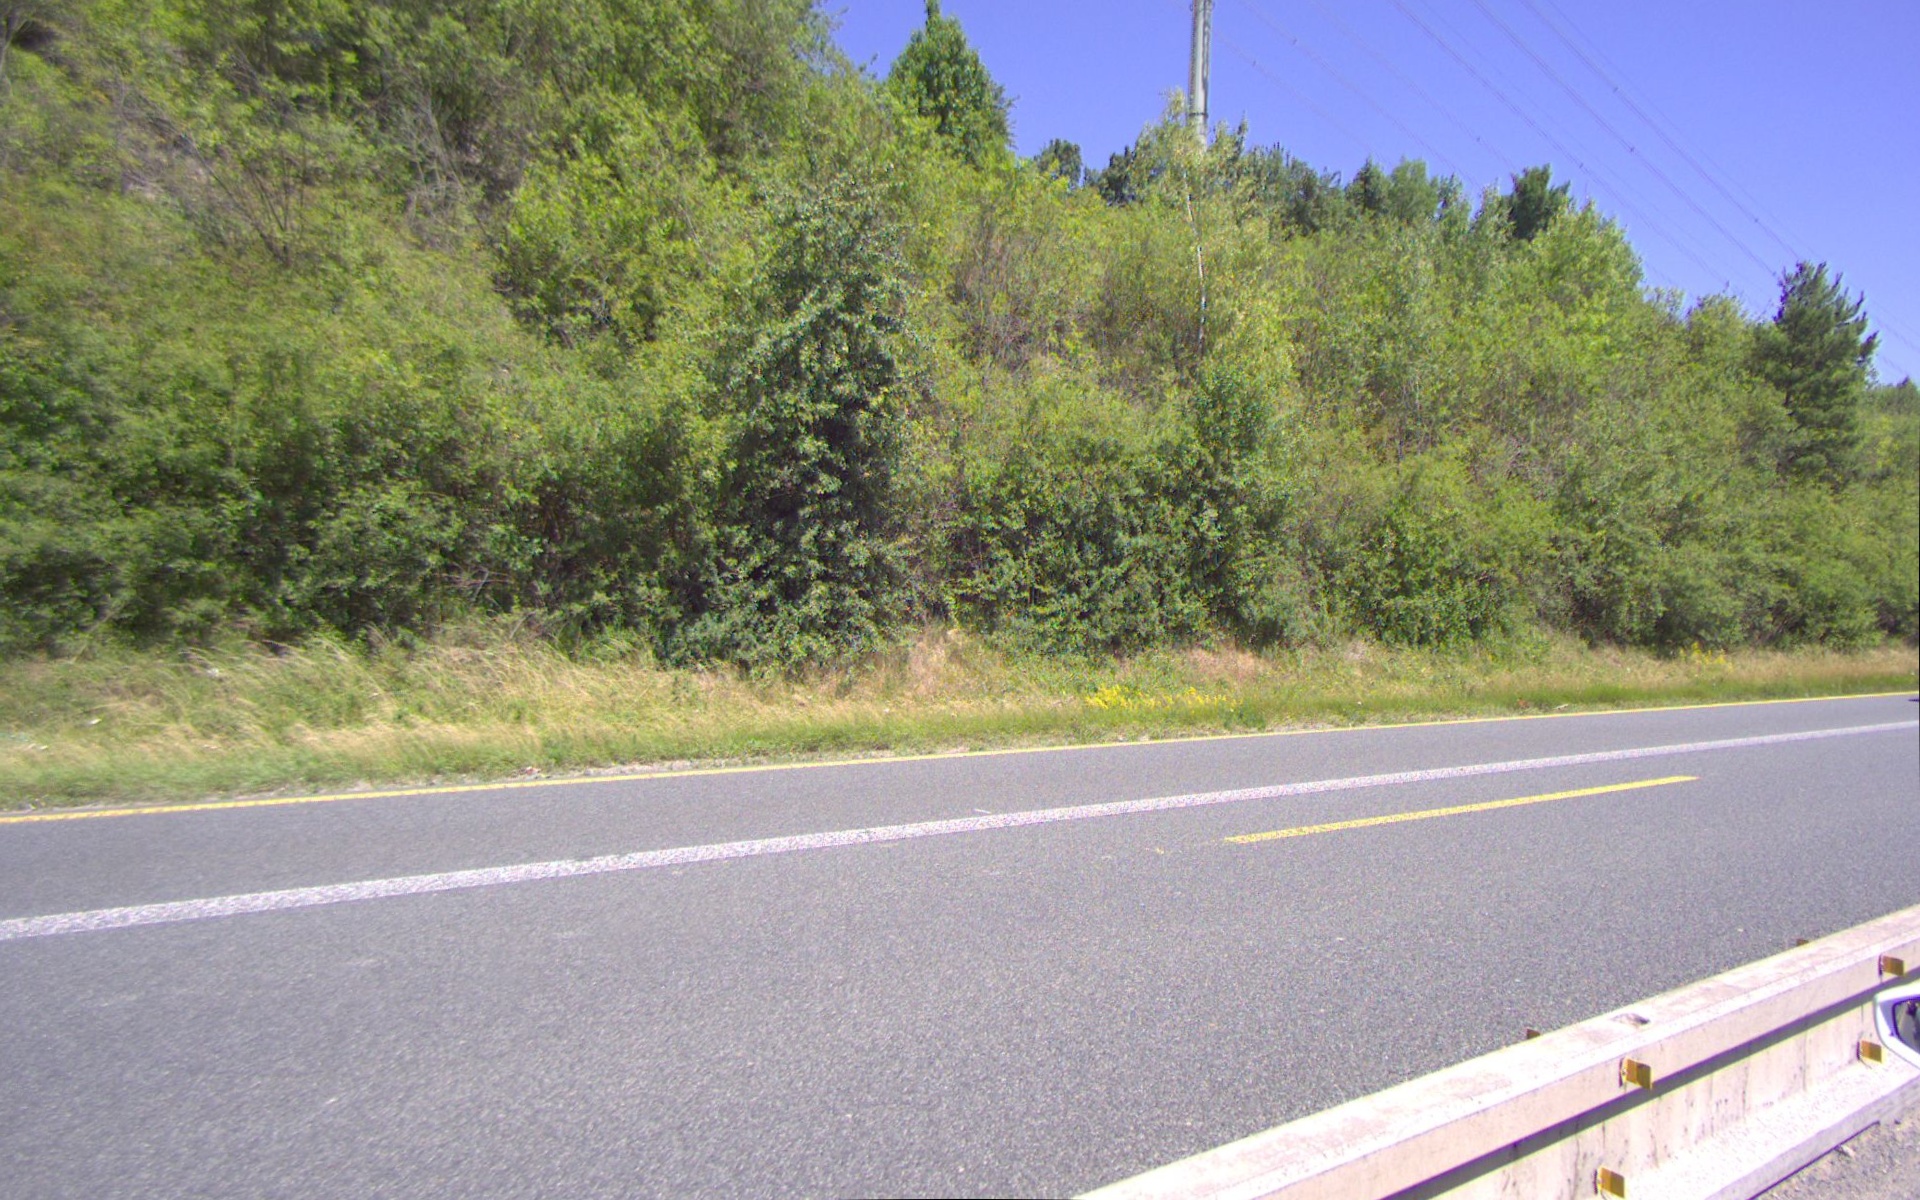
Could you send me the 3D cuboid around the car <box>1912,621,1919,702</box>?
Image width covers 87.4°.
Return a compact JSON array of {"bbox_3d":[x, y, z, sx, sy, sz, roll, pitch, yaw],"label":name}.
[{"bbox_3d":[20.556,1.227,19.512,4.478,1.545,1.784,1,1,-30],"label":"car"}]
